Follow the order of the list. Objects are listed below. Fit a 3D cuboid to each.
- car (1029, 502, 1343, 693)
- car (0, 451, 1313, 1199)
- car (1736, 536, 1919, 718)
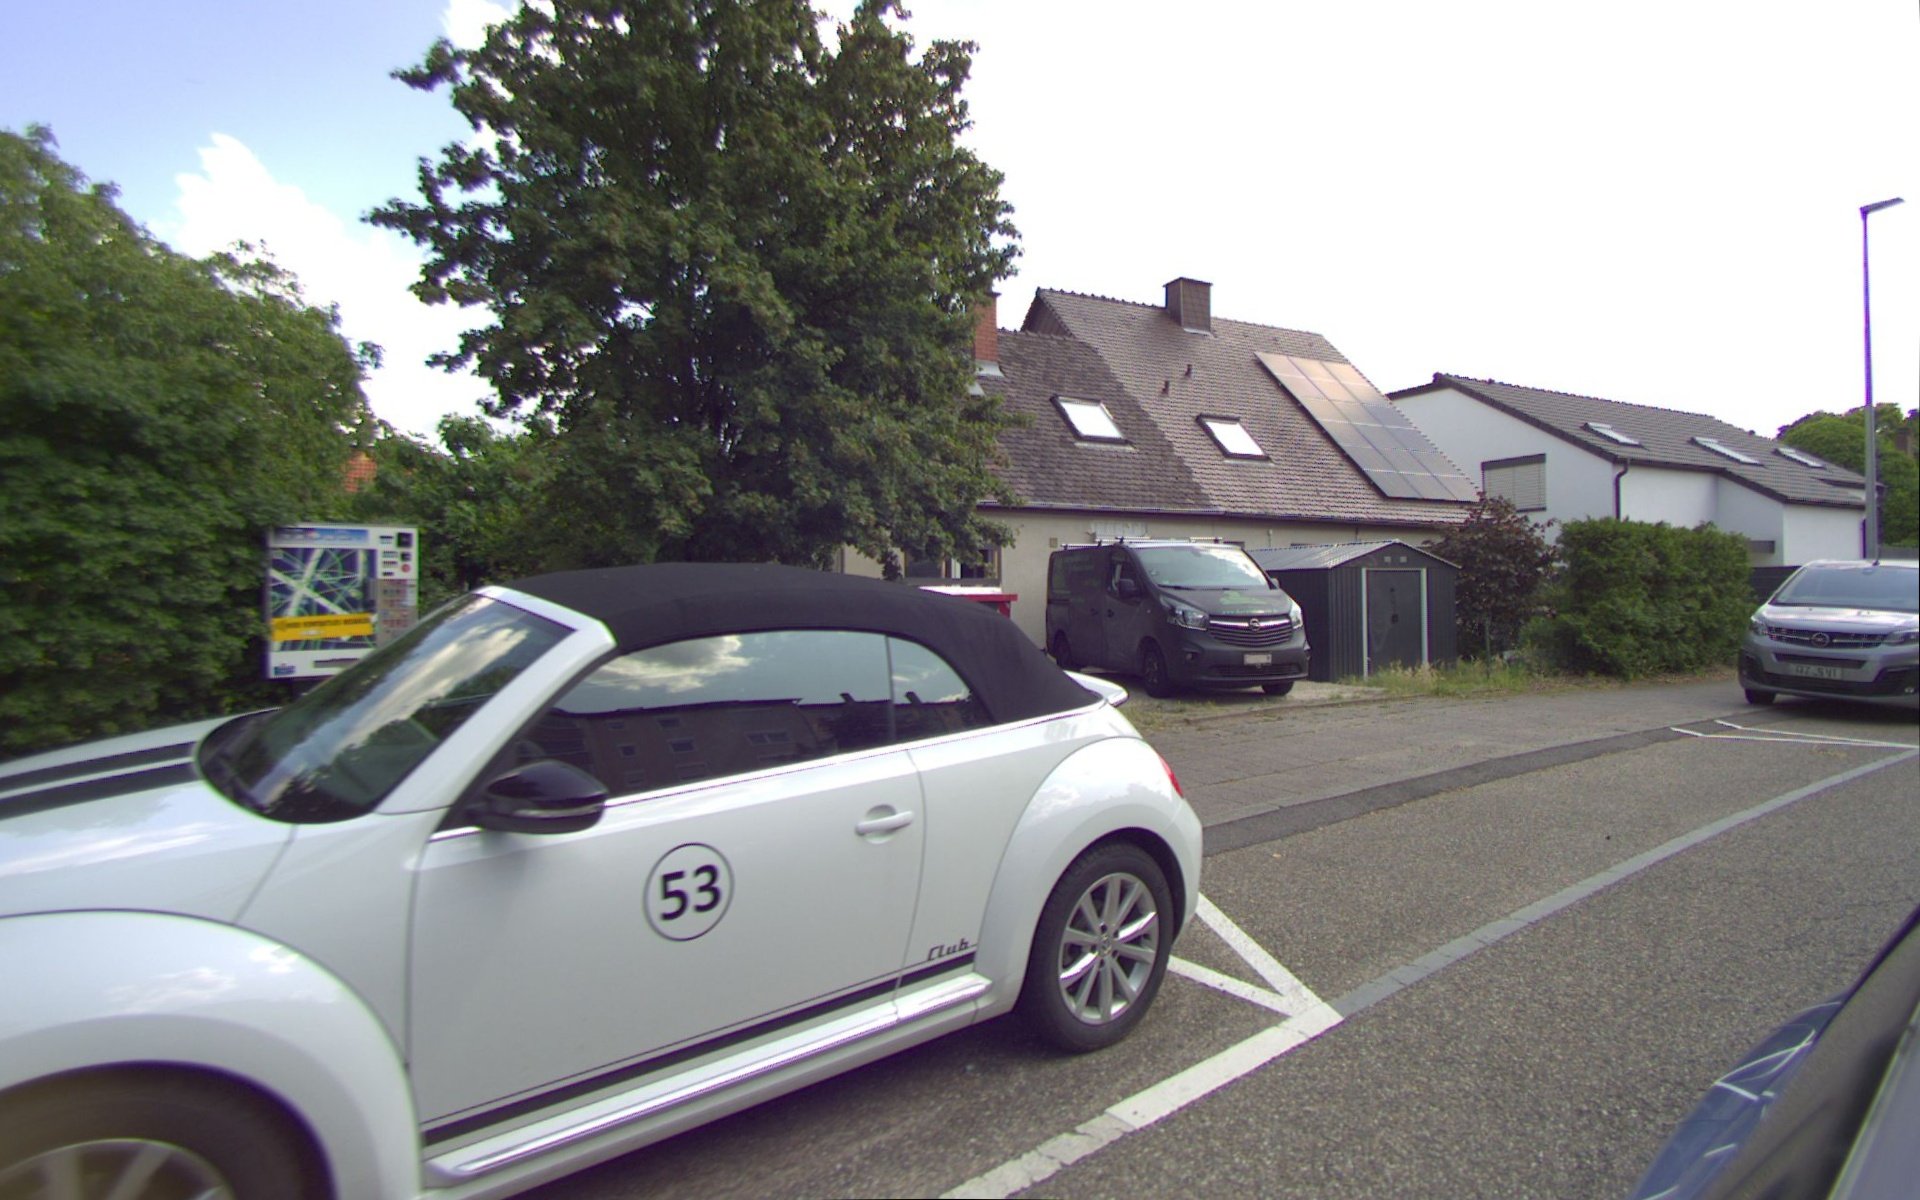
[{"bbox_3d":[2.728,-0.035,13.872,1.958,2.083,5.368,-1,0,-14],"label":"car"},{"bbox_3d":[-0.955,0.530,3.030,4.378,1.531,1.744,-1,0,-39],"label":"car"},{"bbox_3d":[12.023,0.235,12.827,4.780,1.968,1.850,-1,2,-32],"label":"car"}]
